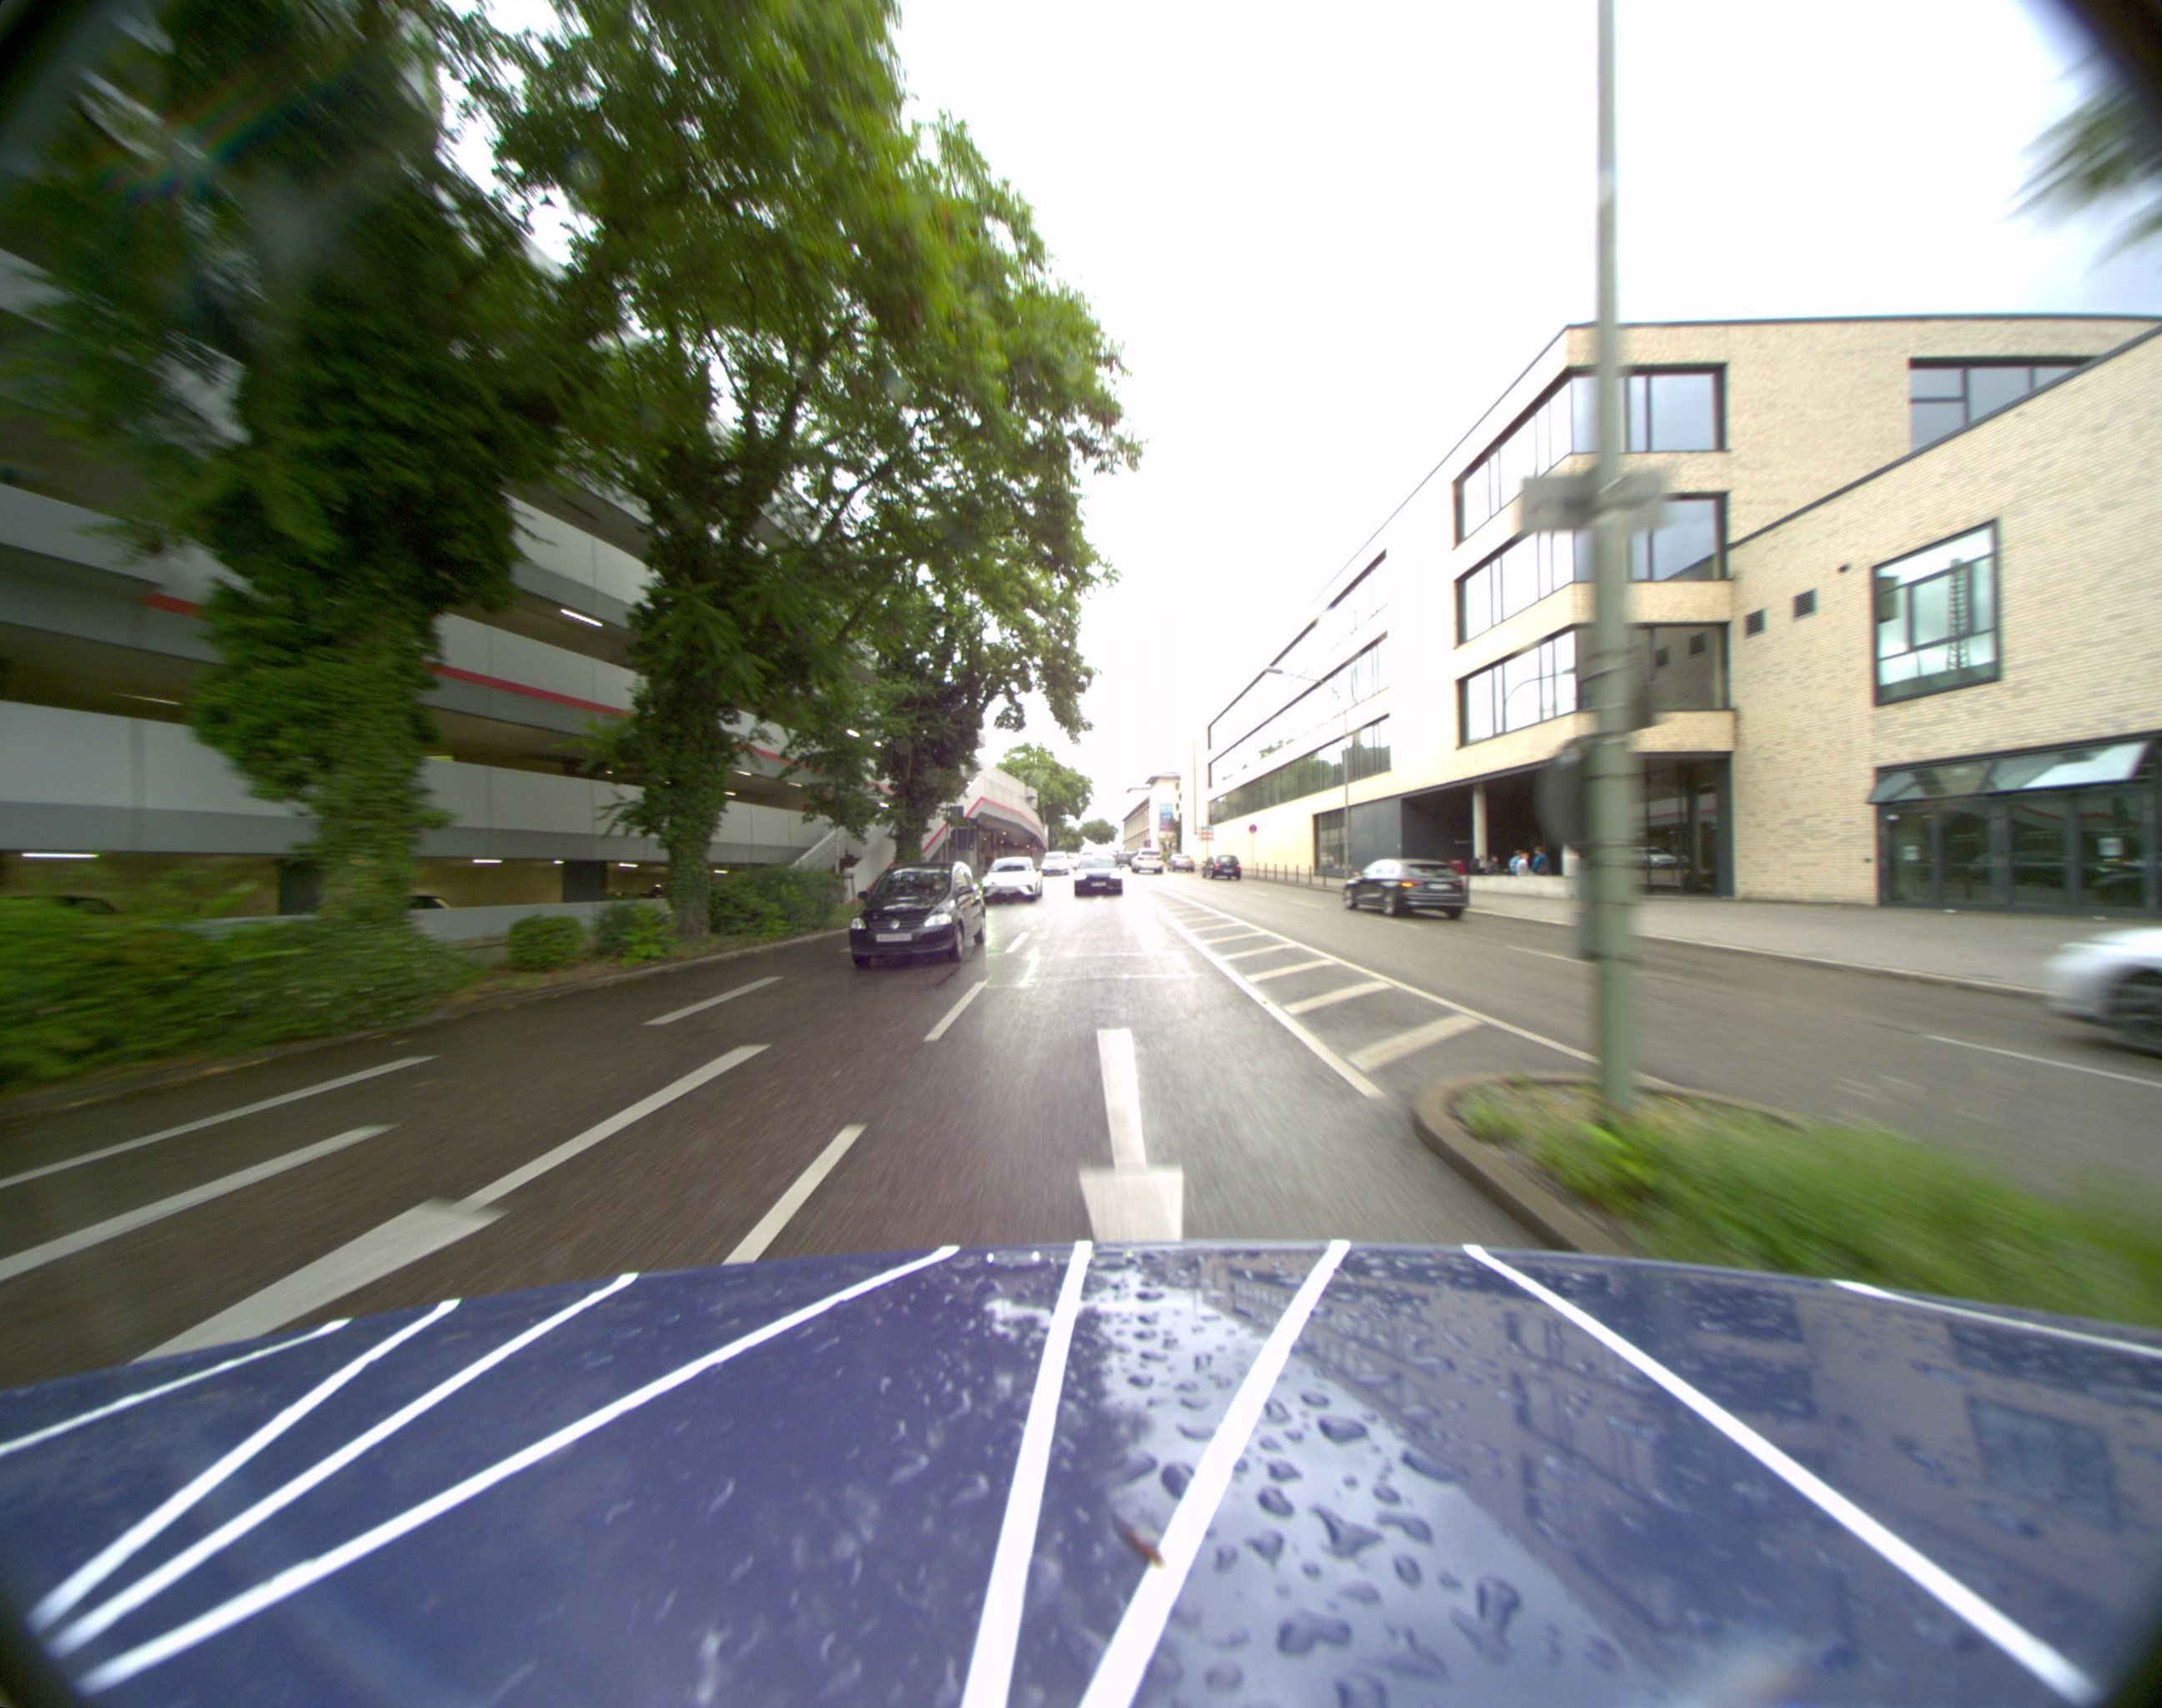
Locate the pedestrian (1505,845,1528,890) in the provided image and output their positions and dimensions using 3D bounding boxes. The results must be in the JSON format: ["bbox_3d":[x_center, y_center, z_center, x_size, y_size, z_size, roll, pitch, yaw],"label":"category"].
[{"bbox_3d":[14.655,0.440,25.582,0.450,1.467,0.463,-3,2,-4],"label":"pedestrian"}]

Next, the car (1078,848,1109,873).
[{"bbox_3d":[0.938,0.428,53.597,1.998,1.477,4.000,-3,1,2],"label":"car"}]

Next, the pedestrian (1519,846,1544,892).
[{"bbox_3d":[14.643,0.481,24.678,0.442,1.467,0.528,-3,2,-4],"label":"pedestrian"}]

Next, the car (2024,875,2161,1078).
[{"bbox_3d":[8.844,0.939,4.270,1.737,1.460,4.230,1,0,-2],"label":"car"}]

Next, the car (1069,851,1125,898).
[{"bbox_3d":[0.582,0.714,28.070,1.852,1.516,3.990,-3,0,1],"label":"car"}]

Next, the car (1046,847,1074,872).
[{"bbox_3d":[-1.459,0.361,53.851,1.727,1.628,3.999,-3,1,1],"label":"car"}]

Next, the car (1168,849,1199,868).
[{"bbox_3d":[8.057,0.340,60.181,1.834,1.380,4.229,1,1,-1],"label":"car"}]

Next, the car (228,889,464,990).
[{"bbox_3d":[-14.828,1.668,15.411,3.460,1.772,1.817,-1,1,13],"label":"car"}]

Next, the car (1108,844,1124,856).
[{"bbox_3d":[4.703,-0.539,102.832,1.888,1.489,4.560,0,1,-1],"label":"car"}]

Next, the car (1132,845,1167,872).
[{"bbox_3d":[4.844,0.302,54.334,1.896,1.801,4.573,1,1,-2],"label":"car"}]

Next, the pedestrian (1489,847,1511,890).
[{"bbox_3d":[14.651,0.488,26.546,0.450,1.467,0.463,-3,2,-4],"label":"pedestrian"}]

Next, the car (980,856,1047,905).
[{"bbox_3d":[-2.301,0.871,26.985,1.915,1.443,4.036,-3,1,0],"label":"car"}]

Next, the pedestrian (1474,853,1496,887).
[{"bbox_3d":[14.622,0.579,27.476,0.550,1.208,0.422,-3,2,4],"label":"pedestrian"}]

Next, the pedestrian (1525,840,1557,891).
[{"bbox_3d":[15.704,0.386,25.965,0.636,1.704,0.704,-3,2,1],"label":"pedestrian"}]

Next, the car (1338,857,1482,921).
[{"bbox_3d":[8.222,0.809,19.451,1.737,1.386,4.198,1,1,-2],"label":"car"}]

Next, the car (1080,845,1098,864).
[{"bbox_3d":[0.908,-0.016,86.784,1.998,2.002,3.999,-3,1,1],"label":"car"}]

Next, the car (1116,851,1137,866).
[{"bbox_3d":[4.774,0.432,79.967,1.816,1.454,4.286,1,1,-2],"label":"car"}]

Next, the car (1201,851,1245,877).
[{"bbox_3d":[8.217,0.554,44.172,1.750,1.404,3.970,1,1,-1],"label":"car"}]

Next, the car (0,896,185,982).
[{"bbox_3d":[-23.770,1.942,17.879,3.993,1.772,1.817,-1,1,13],"label":"car"}]

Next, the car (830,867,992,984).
[{"bbox_3d":[-2.633,1.041,12.710,1.683,1.516,3.990,-3,0,1],"label":"car"}]

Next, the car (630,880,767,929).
[{"bbox_3d":[-12.926,1.705,25.778,3.740,1.530,1.812,-2,-3,6],"label":"car"}]

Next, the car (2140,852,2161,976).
[{"bbox_3d":[15.192,0.641,8.536,4.188,1.486,1.999,-3,1,-5],"label":"car"}]

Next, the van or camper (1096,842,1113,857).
[{"bbox_3d":[4.028,-0.896,133.796,2.108,2.567,5.903,0,1,-7],"label":"van or camper"}]
